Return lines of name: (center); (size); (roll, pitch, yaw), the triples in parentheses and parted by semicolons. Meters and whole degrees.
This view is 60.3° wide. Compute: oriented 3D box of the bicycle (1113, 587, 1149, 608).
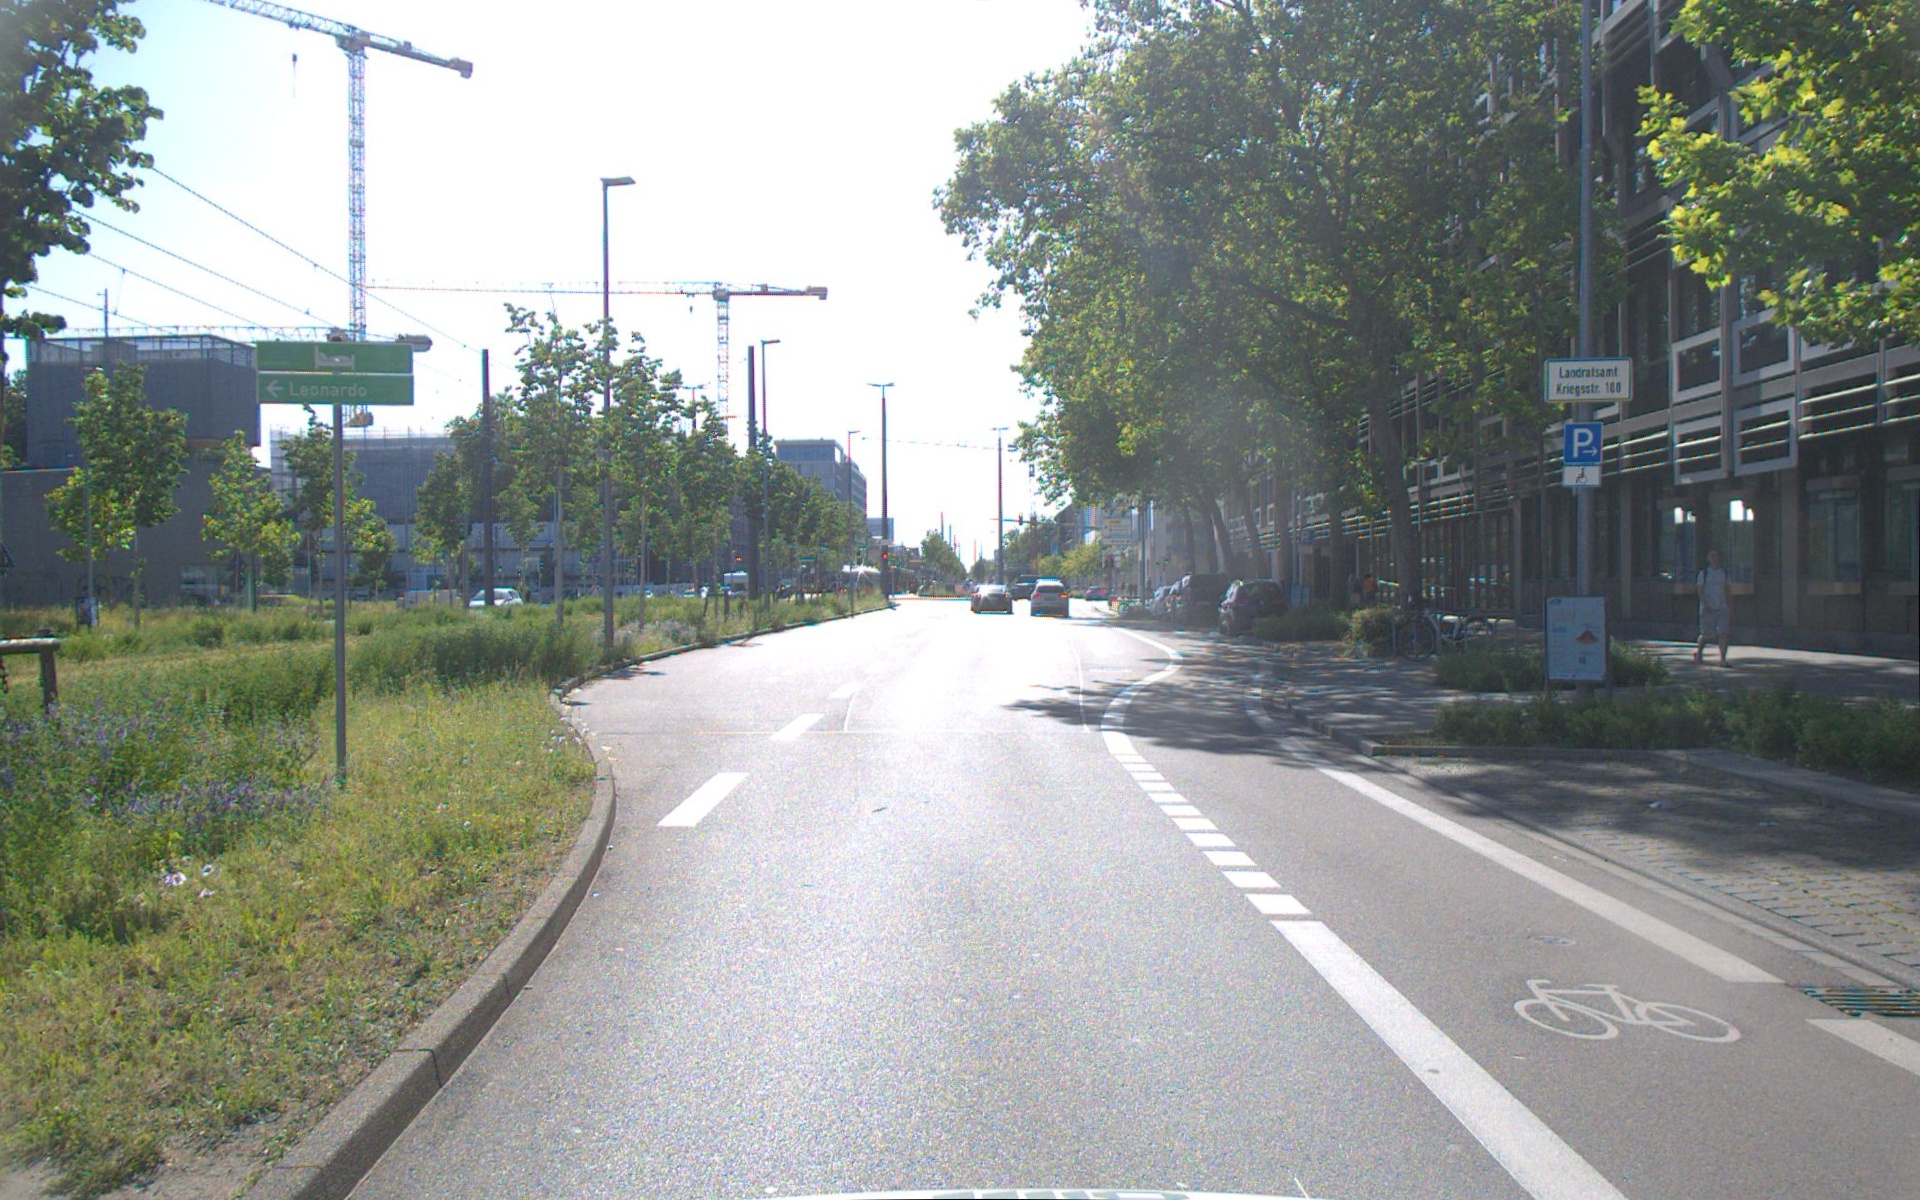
bicycle: (8.339, -0.115, 80.821); (1.659, 0.974, 0.478); (-2, 1, -3)

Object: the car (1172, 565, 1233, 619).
car: (8.718, -0.306, 59.720); (1.669, 1.821, 4.193); (-3, 1, 2)

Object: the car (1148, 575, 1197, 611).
car: (9.262, -0.321, 72.232); (1.668, 1.518, 4.602); (0, 1, 2)

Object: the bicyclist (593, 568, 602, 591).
bicyclist: (-23.309, -1.340, 106.289); (0.386, 1.480, 0.539); (1, 0, 0)

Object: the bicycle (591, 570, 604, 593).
bicycle: (-23.311, -1.190, 106.333); (0.353, 1.480, 1.914); (0, 1, 2)

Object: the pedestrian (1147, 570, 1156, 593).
pedestrian: (12.587, -1.208, 108.778); (0.550, 1.466, 0.632); (1, 0, 8)

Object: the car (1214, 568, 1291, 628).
car: (8.468, -0.095, 48.195); (1.668, 1.671, 4.638); (0, 1, 3)

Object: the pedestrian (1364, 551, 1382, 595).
pedestrian: (15.500, -1.018, 62.076); (0.542, 1.631, 0.573); (0, 1, 2)

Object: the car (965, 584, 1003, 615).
car: (1.226, -0.056, 84.781); (1.872, 1.512, 4.010); (0, 1, 1)

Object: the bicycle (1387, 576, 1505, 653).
bicycle: (8.774, 0.250, 29.901); (1.898, 1.258, 0.579); (-4, 1, -2)

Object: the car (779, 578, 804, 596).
car: (-11.816, -0.911, 116.264); (1.348, 1.199, 3.221); (1, 0, 1)

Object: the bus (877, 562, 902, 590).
bus: (-8.178, -2.787, 193.376); (2.574, 3.011, 9.897); (1, 0, -1)

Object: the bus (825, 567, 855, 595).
bus: (-12.769, -1.947, 176.506); (2.574, 2.831, 8.842); (1, 0, -1)

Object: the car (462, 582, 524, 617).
car: (-20.092, -0.030, 71.315); (1.599, 1.422, 3.833); (0, 1, 0)

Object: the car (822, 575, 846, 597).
car: (-10.998, -1.192, 144.782); (1.858, 1.847, 3.999); (1, 0, -2)

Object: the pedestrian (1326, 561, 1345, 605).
pedestrian: (14.070, -0.645, 61.926); (0.496, 1.612, 0.634); (0, 1, -7)

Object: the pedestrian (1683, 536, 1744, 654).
pedestrian: (11.351, -0.082, 24.929); (0.500, 1.730, 0.774); (-3, 1, 1)

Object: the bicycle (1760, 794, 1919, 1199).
bicycle: (2.626, 1.028, 3.718); (0.488, 0.921, 2.195); (1, 0, -3)

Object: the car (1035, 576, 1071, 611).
car: (4.492, -0.340, 80.252); (1.685, 1.646, 4.188); (0, 1, 3)

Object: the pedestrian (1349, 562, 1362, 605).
pedestrian: (14.813, -0.624, 61.926); (0.309, 1.612, 0.501); (0, 1, -7)

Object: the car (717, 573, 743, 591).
car: (-16.215, -1.281, 116.723); (1.348, 1.199, 3.221); (1, 0, 1)

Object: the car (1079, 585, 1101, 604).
car: (11.721, -0.513, 149.049); (1.628, 1.678, 3.700); (1, 0, 0)

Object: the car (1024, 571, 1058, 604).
car: (4.626, -0.751, 94.856); (1.686, 1.813, 4.186); (0, 1, 0)
